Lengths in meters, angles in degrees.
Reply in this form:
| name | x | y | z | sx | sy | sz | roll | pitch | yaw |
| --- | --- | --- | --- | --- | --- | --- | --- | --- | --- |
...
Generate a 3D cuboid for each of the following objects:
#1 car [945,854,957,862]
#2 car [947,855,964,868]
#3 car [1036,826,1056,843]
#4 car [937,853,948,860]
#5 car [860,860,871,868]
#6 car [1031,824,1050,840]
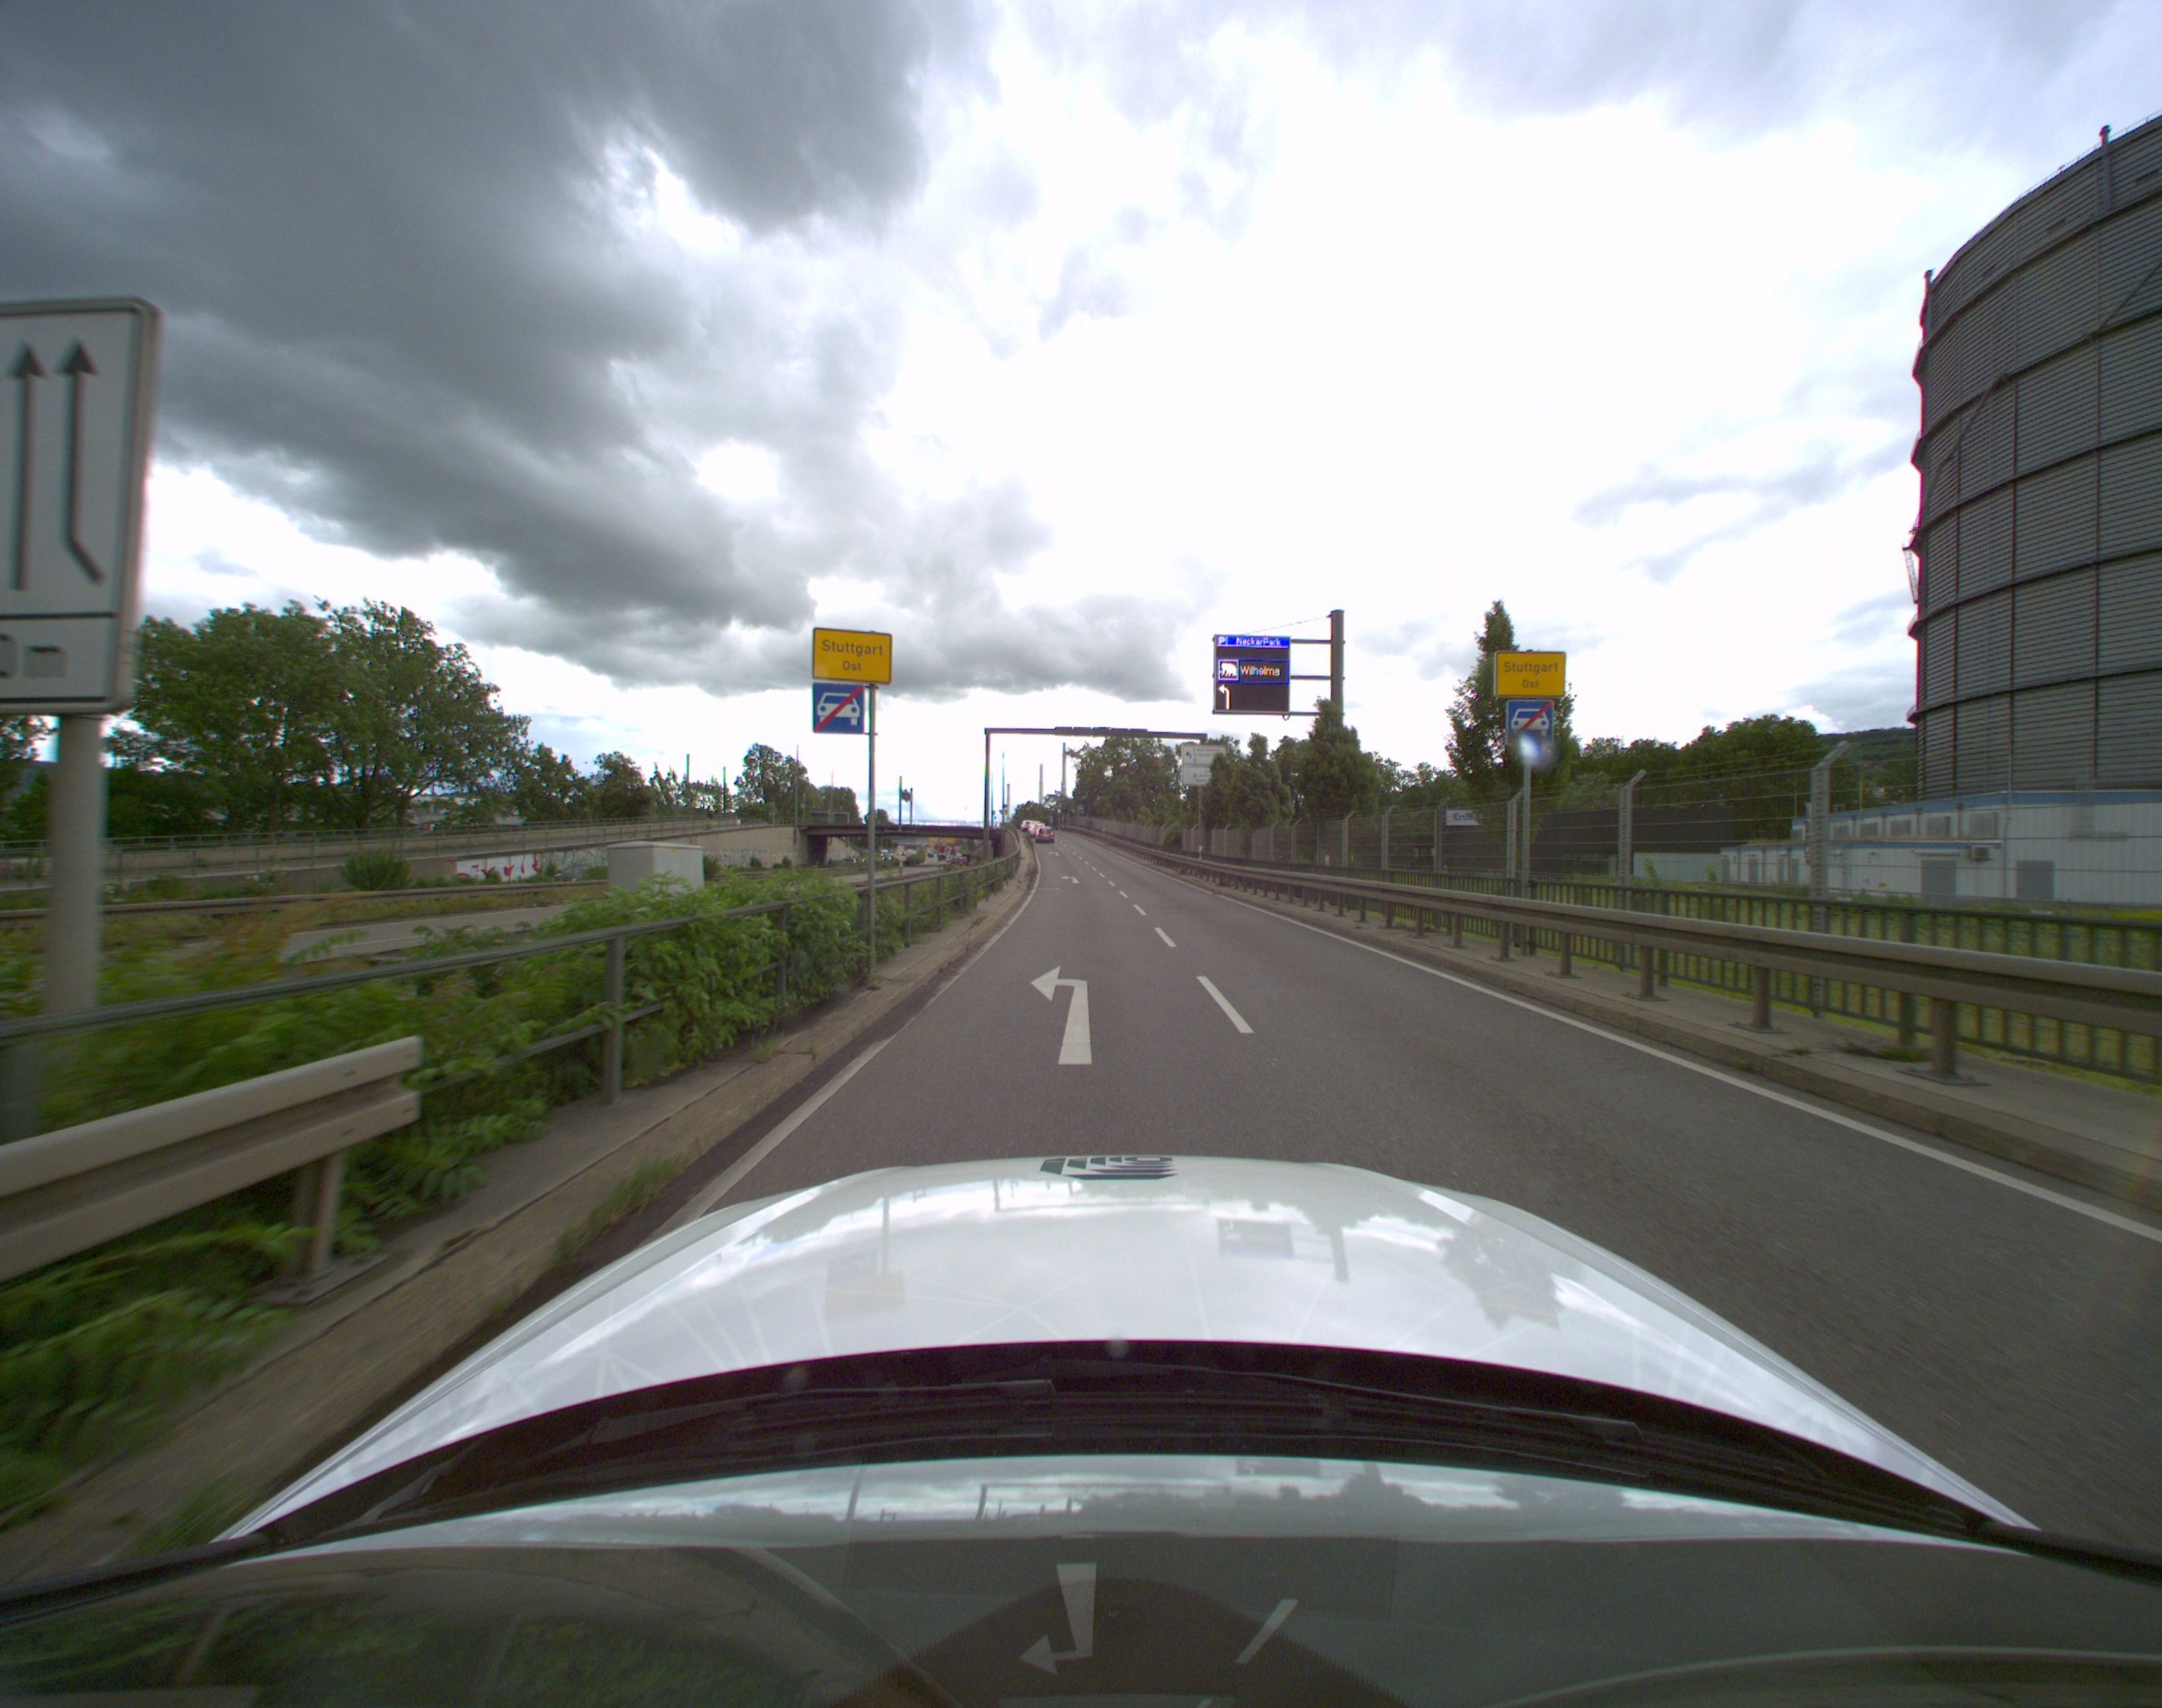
| name | x | y | z | sx | sy | sz | roll | pitch | yaw |
| --- | --- | --- | --- | --- | --- | --- | --- | --- | --- |
| car | -27.556 | 0.864 | 172.123 | 1.989 | 1.683 | 3.997 | 1 | 1 | -2 |
| car | -15.288 | 0.924 | 99.606 | 1.993 | 1.420 | 3.988 | 1 | 1 | -9 |
| car | -3.487 | -1.940 | 81.240 | 1.743 | 1.580 | 4.086 | 1 | 0 | 1 |
| car | -32.854 | 0.591 | 193.485 | 1.989 | 1.683 | 3.997 | 1 | 1 | -2 |
| car | -44.260 | 2.062 | 167.013 | 1.999 | 1.720 | 4.675 | -1 | -1 | -17 |
| car | -4.631 | -2.530 | 92.568 | 1.991 | 1.602 | 3.994 | -1 | 4 | -5 |
